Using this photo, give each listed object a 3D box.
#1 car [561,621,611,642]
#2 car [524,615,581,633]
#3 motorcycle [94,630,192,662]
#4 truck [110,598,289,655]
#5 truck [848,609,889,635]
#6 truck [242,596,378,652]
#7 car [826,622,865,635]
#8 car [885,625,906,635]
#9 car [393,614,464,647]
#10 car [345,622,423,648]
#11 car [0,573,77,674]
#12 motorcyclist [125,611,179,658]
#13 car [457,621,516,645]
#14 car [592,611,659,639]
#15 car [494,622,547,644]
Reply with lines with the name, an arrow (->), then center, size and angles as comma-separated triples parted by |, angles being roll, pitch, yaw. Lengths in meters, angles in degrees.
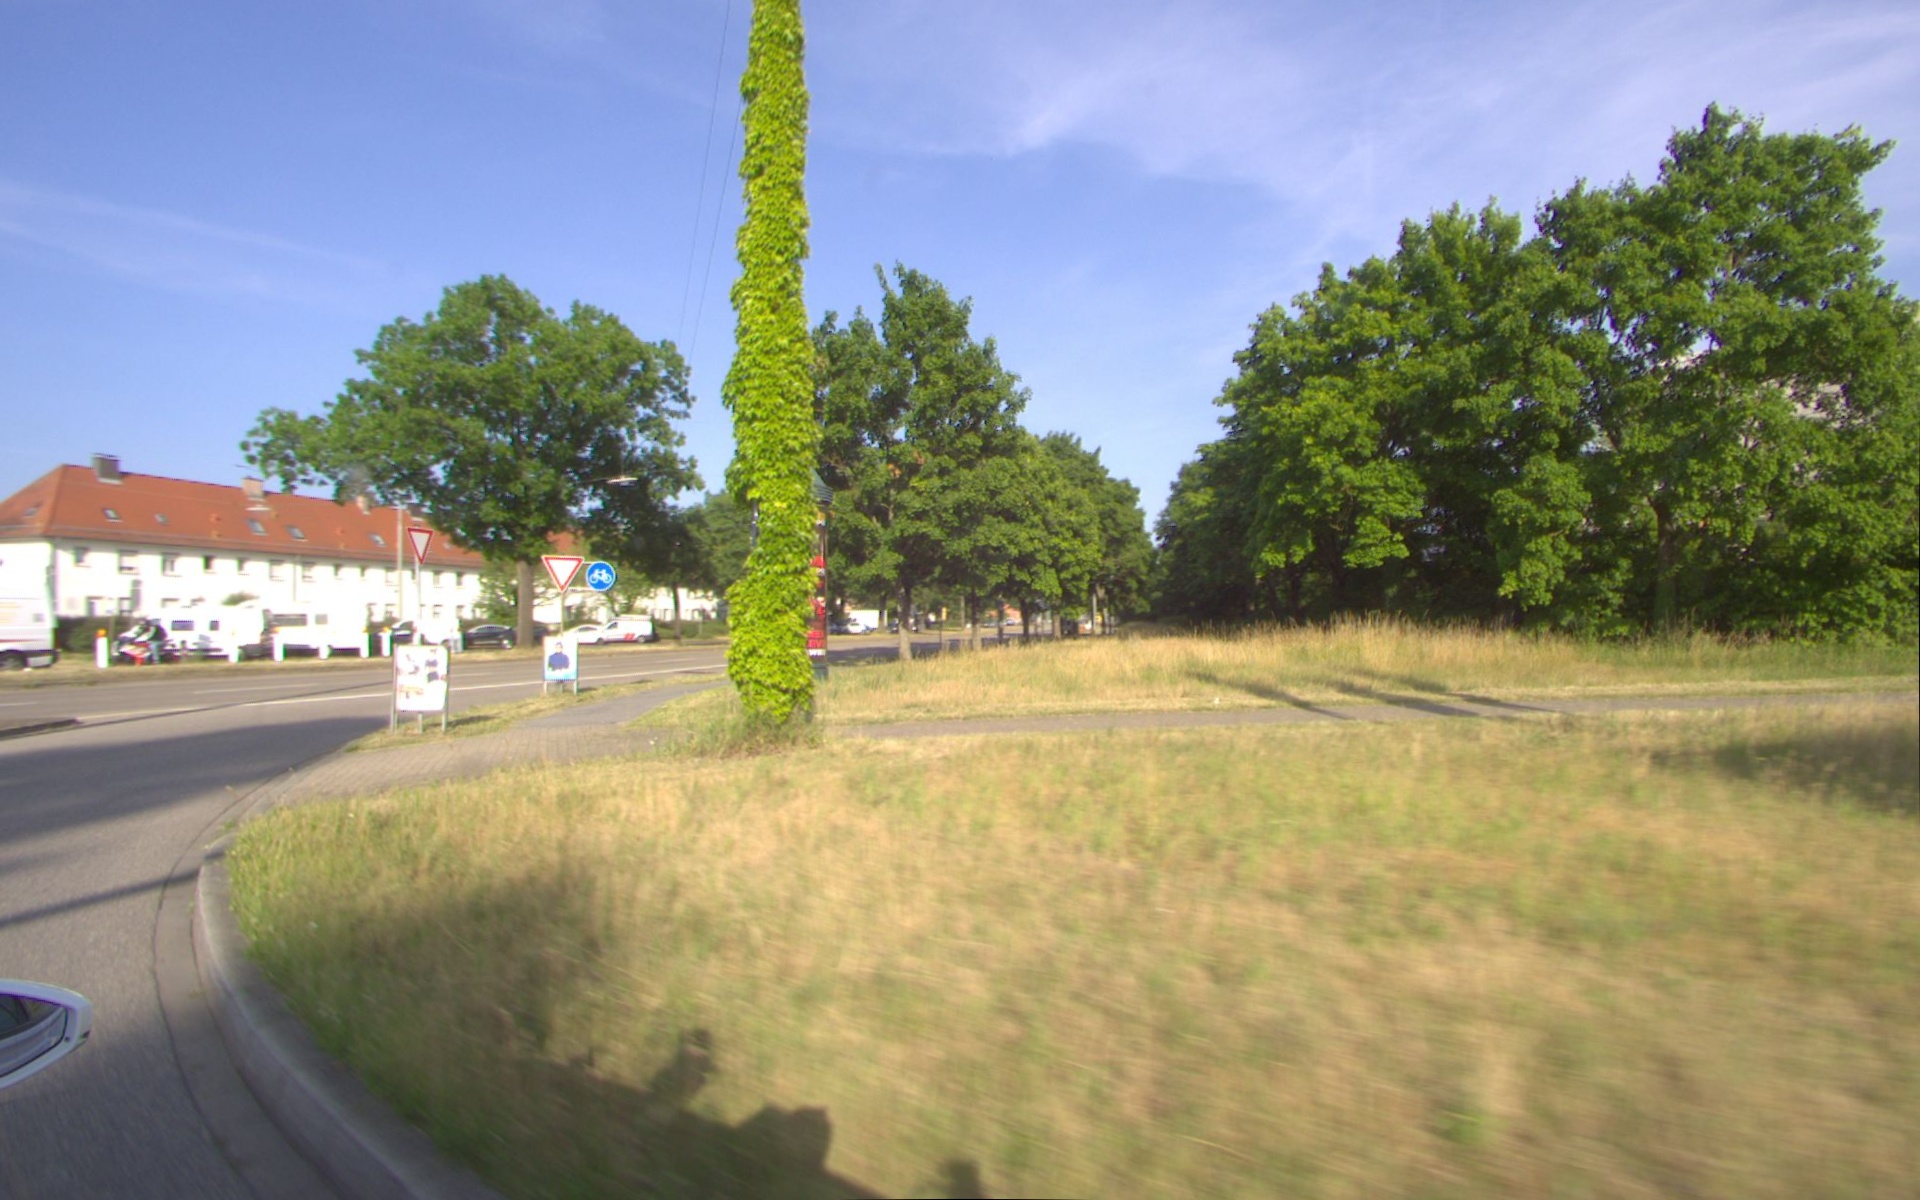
car -> -28.324, 2.387, 75.825 | 3.380, 1.533, 1.888 | 0, -1, -27
car -> -39.292, 2.312, 96.483 | 4.888, 1.741, 1.998 | -1, -1, 15
motorcycle -> -24.006, 1.334, 29.484 | 0.678, 0.877, 2.277 | 0, -1, 14
truck -> -35.631, 1.289, 47.181 | 6.250, 2.556, 2.272 | 1, -1, -20
truck -> -12.766, 3.028, 139.392 | 5.435, 3.509, 1.987 | 1, -1, -35
truck -> -34.450, 1.269, 53.294 | 5.994, 2.891, 1.886 | 0, -1, -31
car -> -14.676, 3.654, 128.361 | 4.473, 1.745, 1.991 | 1, -1, -28
car -> -8.252, 3.816, 127.826 | 1.683, 1.371, 3.998 | 0, -1, 12
car -> -33.078, 1.878, 62.310 | 3.854, 1.945, 1.886 | 0, -1, -31
car -> -33.973, 2.045, 59.072 | 3.858, 1.475, 1.884 | 1, -1, -34
car -> -26.104, 0.574, 24.860 | 1.963, 2.616, 6.223 | 0, -1, 15
motorcyclist -> -23.949, 1.029, 29.688 | 0.667, 1.369, 1.068 | 0, -1, 14
car -> -31.104, 2.147, 65.827 | 3.446, 1.533, 1.888 | 0, -1, -27
car -> -27.302, 2.014, 81.782 | 4.909, 2.261, 1.990 | 0, -1, -31
car -> -31.496, 2.336, 71.737 | 3.380, 1.533, 1.888 | 0, -1, -27
